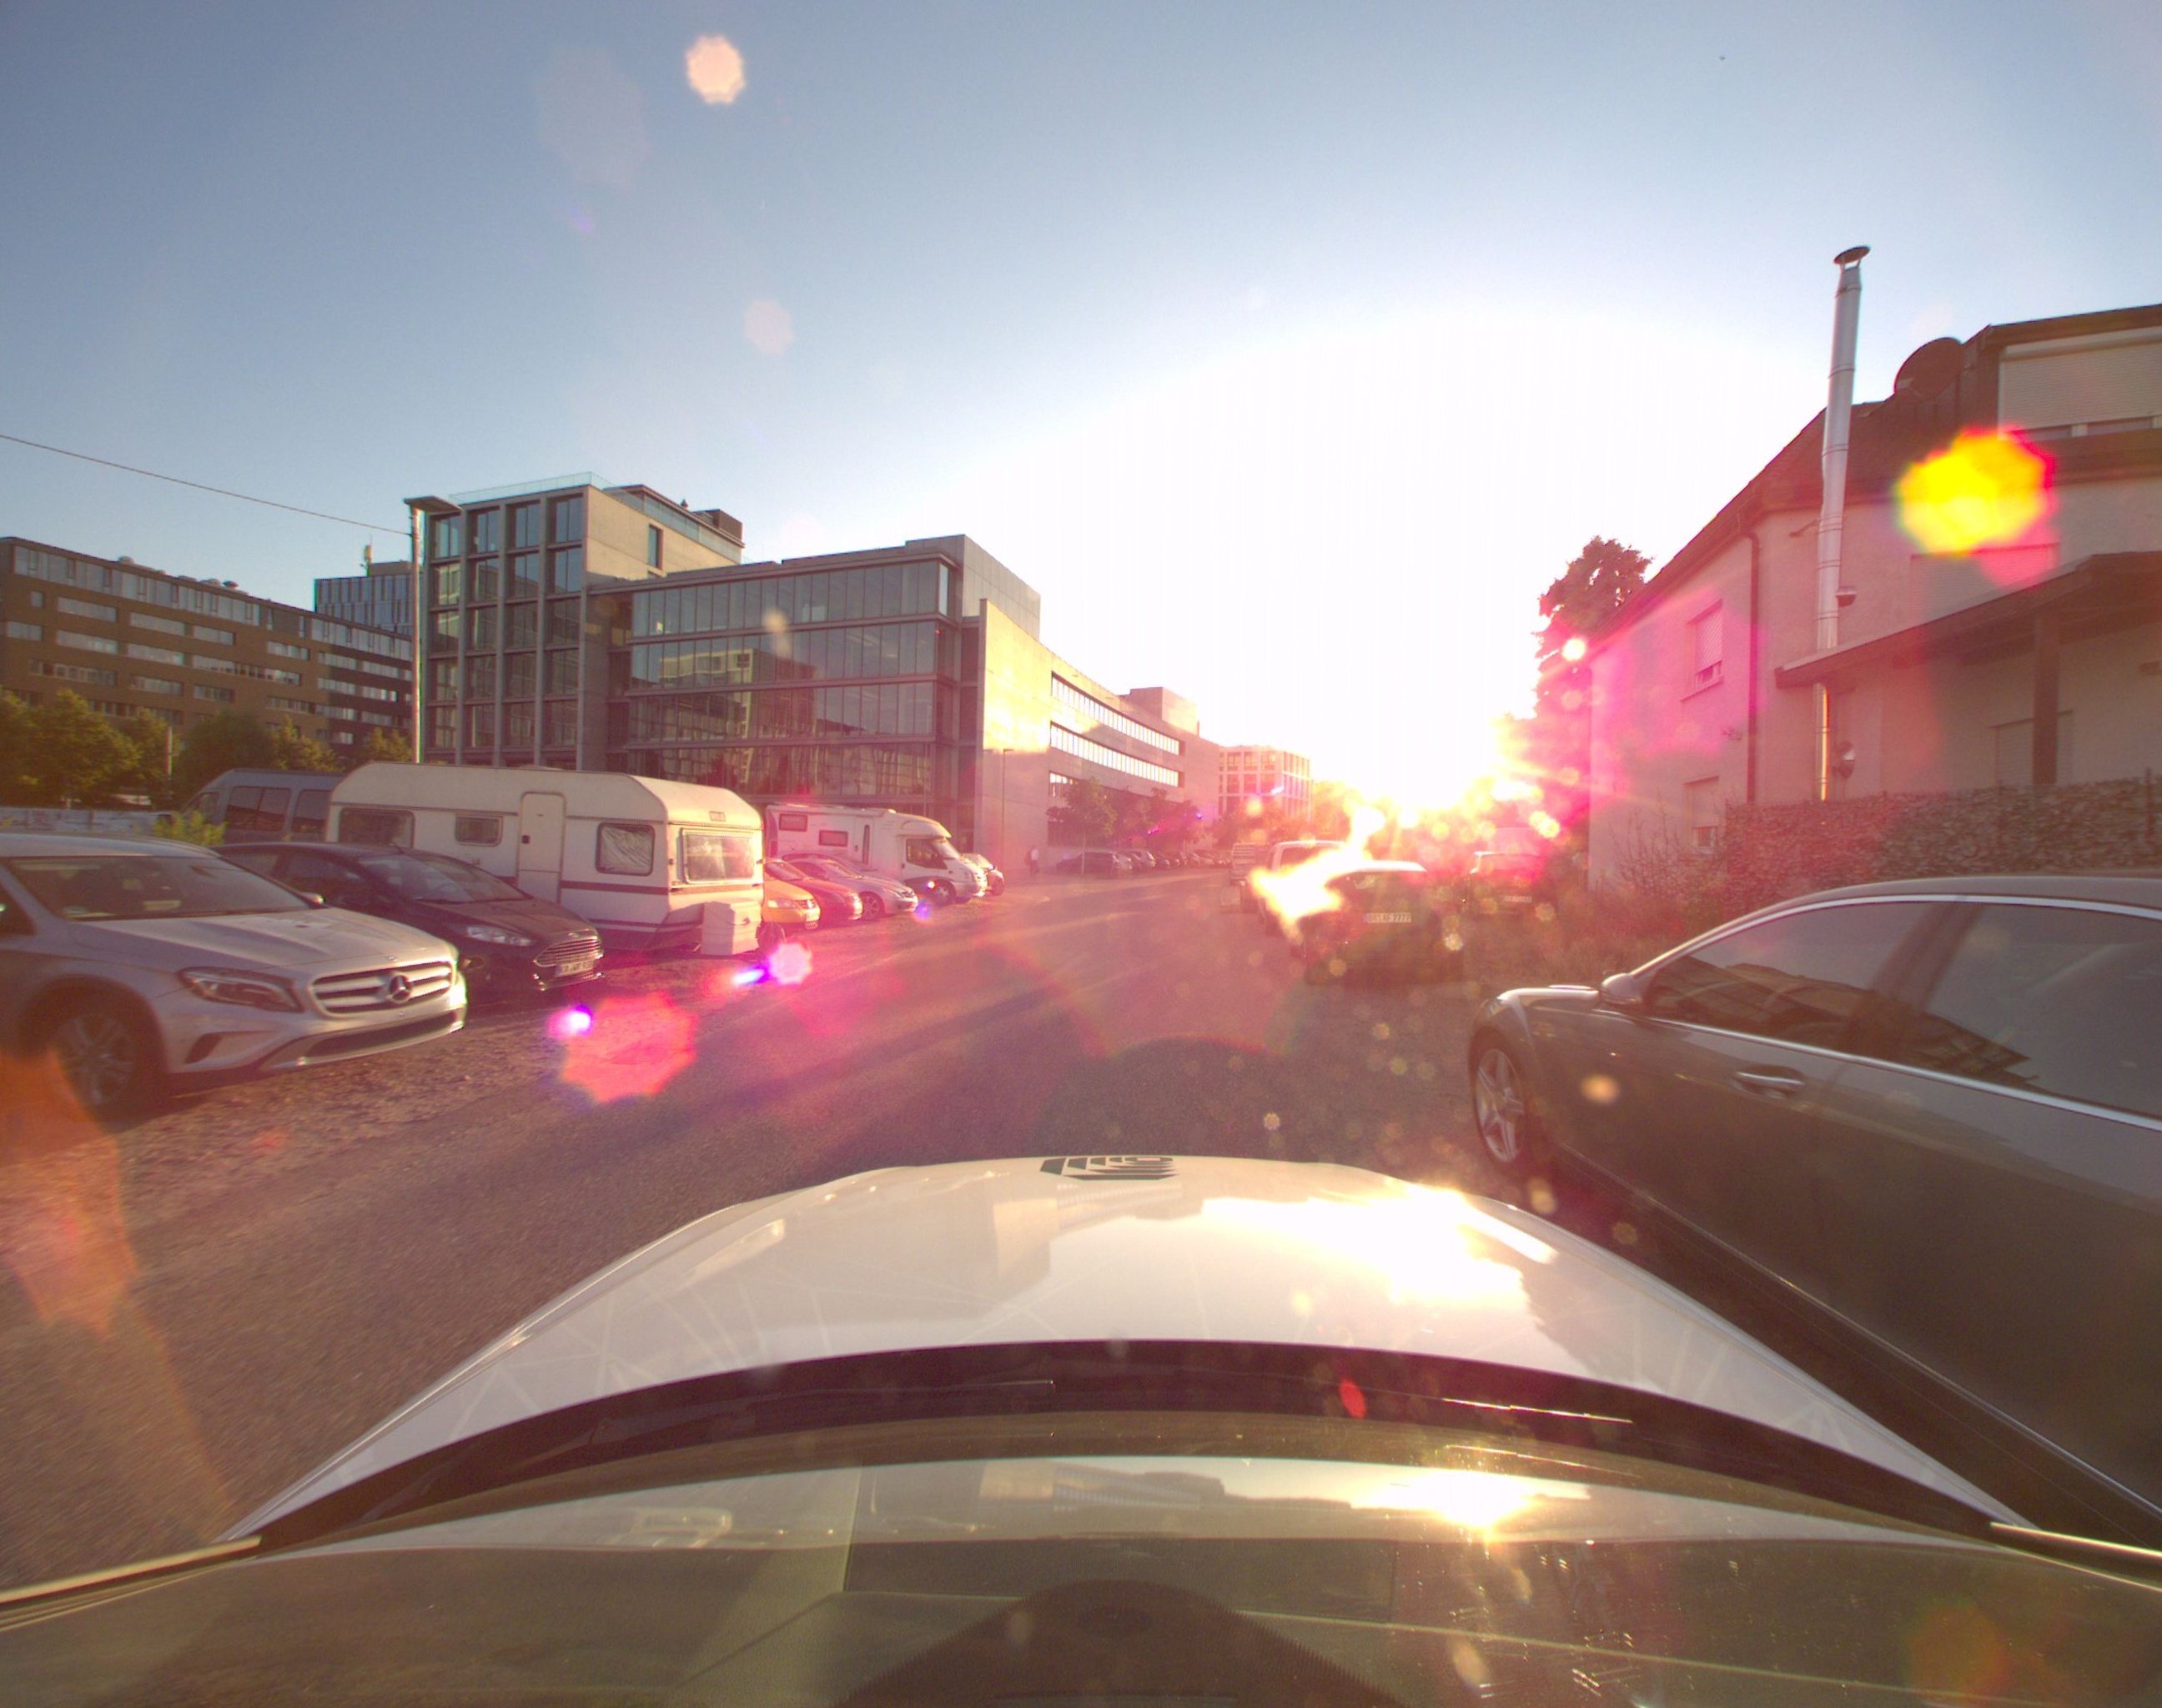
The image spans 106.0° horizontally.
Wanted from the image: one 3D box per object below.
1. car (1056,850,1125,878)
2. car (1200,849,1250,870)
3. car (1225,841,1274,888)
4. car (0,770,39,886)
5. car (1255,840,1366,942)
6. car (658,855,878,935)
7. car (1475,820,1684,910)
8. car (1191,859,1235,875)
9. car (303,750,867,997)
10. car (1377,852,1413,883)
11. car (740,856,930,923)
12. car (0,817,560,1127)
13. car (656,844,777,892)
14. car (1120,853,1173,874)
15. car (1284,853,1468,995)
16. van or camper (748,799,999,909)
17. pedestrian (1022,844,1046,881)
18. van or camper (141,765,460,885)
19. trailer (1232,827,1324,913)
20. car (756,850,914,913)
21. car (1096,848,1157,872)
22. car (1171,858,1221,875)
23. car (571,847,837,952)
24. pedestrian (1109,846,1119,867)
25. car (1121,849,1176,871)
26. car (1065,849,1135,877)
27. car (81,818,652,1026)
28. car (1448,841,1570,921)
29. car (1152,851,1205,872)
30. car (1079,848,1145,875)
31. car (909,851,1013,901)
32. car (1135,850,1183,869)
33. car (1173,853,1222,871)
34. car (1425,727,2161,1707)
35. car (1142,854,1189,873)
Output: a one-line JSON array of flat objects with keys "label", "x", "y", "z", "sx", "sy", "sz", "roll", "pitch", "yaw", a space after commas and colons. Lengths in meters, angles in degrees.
[{"label": "car", "x": 0.565, "y": 0.569, "z": 47.787, "sx": 3.709, "sy": 1.482, "sz": 1.776, "roll": 2, "pitch": 1, "yaw": 12}, {"label": "car", "x": 15.795, "y": 0.599, "z": 89.282, "sx": 5.030, "sy": 1.946, "sz": 1.899, "roll": 3, "pitch": 0, "yaw": 25}, {"label": "car", "x": 8.203, "y": 0.454, "z": 39.330, "sx": 2.050, "sy": 2.095, "sz": 4.892, "roll": 0, "pitch": 0, "yaw": 15}, {"label": "car", "x": -15.997, "y": -0.412, "z": 10.173, "sx": 4.336, "sy": 1.476, "sz": 1.989, "roll": 2, "pitch": 0, "yaw": 13}, {"label": "car", "x": 4.624, "y": 0.673, "z": 16.972, "sx": 1.760, "sy": 1.831, "sz": 4.419, "roll": 0, "pitch": 0, "yaw": 9}, {"label": "car", "x": -6.207, "y": 0.781, "z": 16.416, "sx": 3.710, "sy": 1.367, "sz": 1.707, "roll": 2, "pitch": 0, "yaw": 3}, {"label": "car", "x": 16.082, "y": 0.264, "z": 26.678, "sx": 5.517, "sy": 2.692, "sz": 2.064, "roll": 1, "pitch": 2, "yaw": 20}, {"label": "car", "x": 13.635, "y": 1.350, "z": 84.161, "sx": 4.107, "sy": 1.404, "sz": 1.734, "roll": 3, "pitch": 0, "yaw": 24}, {"label": "car", "x": -6.112, "y": 0.166, "z": 10.502, "sx": 5.855, "sy": 2.533, "sz": 2.417, "roll": 3, "pitch": 0, "yaw": 7}, {"label": "car", "x": 15.662, "y": 0.625, "z": 40.742, "sx": 1.516, "sy": 1.444, "sz": 3.657, "roll": 0, "pitch": 0, "yaw": 19}, {"label": "car", "x": -5.637, "y": 0.781, "z": 18.938, "sx": 3.790, "sy": 1.328, "sz": 1.695, "roll": 2, "pitch": 0, "yaw": 5}, {"label": "car", "x": -6.134, "y": 0.613, "z": 5.442, "sx": 4.109, "sy": 1.591, "sz": 1.749, "roll": 3, "pitch": -1, "yaw": 2}, {"label": "car", "x": -12.219, "y": 0.455, "z": 27.358, "sx": 3.415, "sy": 1.447, "sz": 1.519, "roll": 2, "pitch": 0, "yaw": 12}, {"label": "car", "x": 4.782, "y": 0.698, "z": 59.513, "sx": 3.607, "sy": 1.361, "sz": 1.692, "roll": 2, "pitch": 1, "yaw": 13}, {"label": "car", "x": 3.712, "y": 0.757, "z": 10.934, "sx": 1.693, "sy": 1.519, "sz": 4.100, "roll": 0, "pitch": 0, "yaw": 11}, {"label": "van or camper", "x": -6.063, "y": -0.020, "z": 24.264, "sx": 6.704, "sy": 2.897, "sz": 2.414, "roll": 2, "pitch": 0, "yaw": 7}, {"label": "pedestrian", "x": -2.462, "y": 0.433, "z": 42.343, "sx": 0.907, "sy": 1.850, "sz": 0.846, "roll": 0, "pitch": 1, "yaw": -41}, {"label": "van or camper", "x": -14.009, "y": -0.517, "z": 14.735, "sx": 4.310, "sy": 1.891, "sz": 1.938, "roll": 2, "pitch": 0, "yaw": 10}, {"label": "trailer", "x": 5.531, "y": 0.398, "z": 23.511, "sx": 2.053, "sy": 2.211, "sz": 5.234, "roll": 0, "pitch": 0, "yaw": 8}, {"label": "car", "x": -6.487, "y": 0.691, "z": 21.739, "sx": 3.591, "sy": 1.476, "sz": 1.694, "roll": 2, "pitch": 0, "yaw": 1}, {"label": "car", "x": 3.219, "y": 0.414, "z": 57.716, "sx": 3.956, "sy": 1.511, "sz": 1.768, "roll": 2, "pitch": 1, "yaw": 17}, {"label": "car", "x": 11.001, "y": 1.147, "z": 77.679, "sx": 4.394, "sy": 1.464, "sz": 1.773, "roll": 1, "pitch": 1, "yaw": 24}, {"label": "car", "x": -6.239, "y": 0.714, "z": 13.738, "sx": 3.613, "sy": 1.519, "sz": 1.707, "roll": 2, "pitch": 0, "yaw": 3}, {"label": "pedestrian", "x": 2.758, "y": 0.213, "z": 68.329, "sx": 0.640, "sy": 1.784, "sz": 0.728, "roll": 2, "pitch": 0, "yaw": 18}, {"label": "car", "x": 5.231, "y": 0.453, "z": 62.706, "sx": 3.839, "sy": 1.511, "sz": 1.768, "roll": 2, "pitch": 1, "yaw": 18}, {"label": "car", "x": 1.194, "y": 0.530, "z": 50.695, "sx": 4.059, "sy": 1.528, "sz": 1.852, "roll": 2, "pitch": 0, "yaw": 12}, {"label": "car", "x": -6.774, "y": 0.584, "z": 8.009, "sx": 4.107, "sy": 1.591, "sz": 1.750, "roll": 3, "pitch": -1, "yaw": 4}, {"label": "car", "x": 9.047, "y": 0.568, "z": 17.526, "sx": 1.623, "sy": 1.519, "sz": 3.919, "roll": 0, "pitch": -2, "yaw": 17}, {"label": "car", "x": 8.660, "y": 0.636, "z": 72.219, "sx": 4.273, "sy": 1.696, "sz": 1.906, "roll": 1, "pitch": 0, "yaw": 20}, {"label": "car", "x": 2.027, "y": 0.477, "z": 52.869, "sx": 3.971, "sy": 1.512, "sz": 1.590, "roll": 2, "pitch": 2, "yaw": 12}, {"label": "car", "x": -3.989, "y": 0.720, "z": 27.801, "sx": 1.673, "sy": 1.519, "sz": 4.381, "roll": 2, "pitch": 0, "yaw": 18}, {"label": "car", "x": 6.486, "y": 0.428, "z": 67.744, "sx": 3.672, "sy": 1.457, "sz": 1.719, "roll": 1, "pitch": 0, "yaw": 19}, {"label": "car", "x": 11.476, "y": 0.770, "z": 80.313, "sx": 4.357, "sy": 1.499, "sz": 1.773, "roll": 3, "pitch": 0, "yaw": 28}, {"label": "car", "x": 2.723, "y": 0.637, "z": 2.160, "sx": 1.798, "sy": 1.724, "sz": 4.933, "roll": -1, "pitch": 0, "yaw": 4}, {"label": "car", "x": 7.246, "y": 0.820, "z": 69.956, "sx": 3.671, "sy": 1.457, "sz": 1.687, "roll": 1, "pitch": 0, "yaw": 20}]
